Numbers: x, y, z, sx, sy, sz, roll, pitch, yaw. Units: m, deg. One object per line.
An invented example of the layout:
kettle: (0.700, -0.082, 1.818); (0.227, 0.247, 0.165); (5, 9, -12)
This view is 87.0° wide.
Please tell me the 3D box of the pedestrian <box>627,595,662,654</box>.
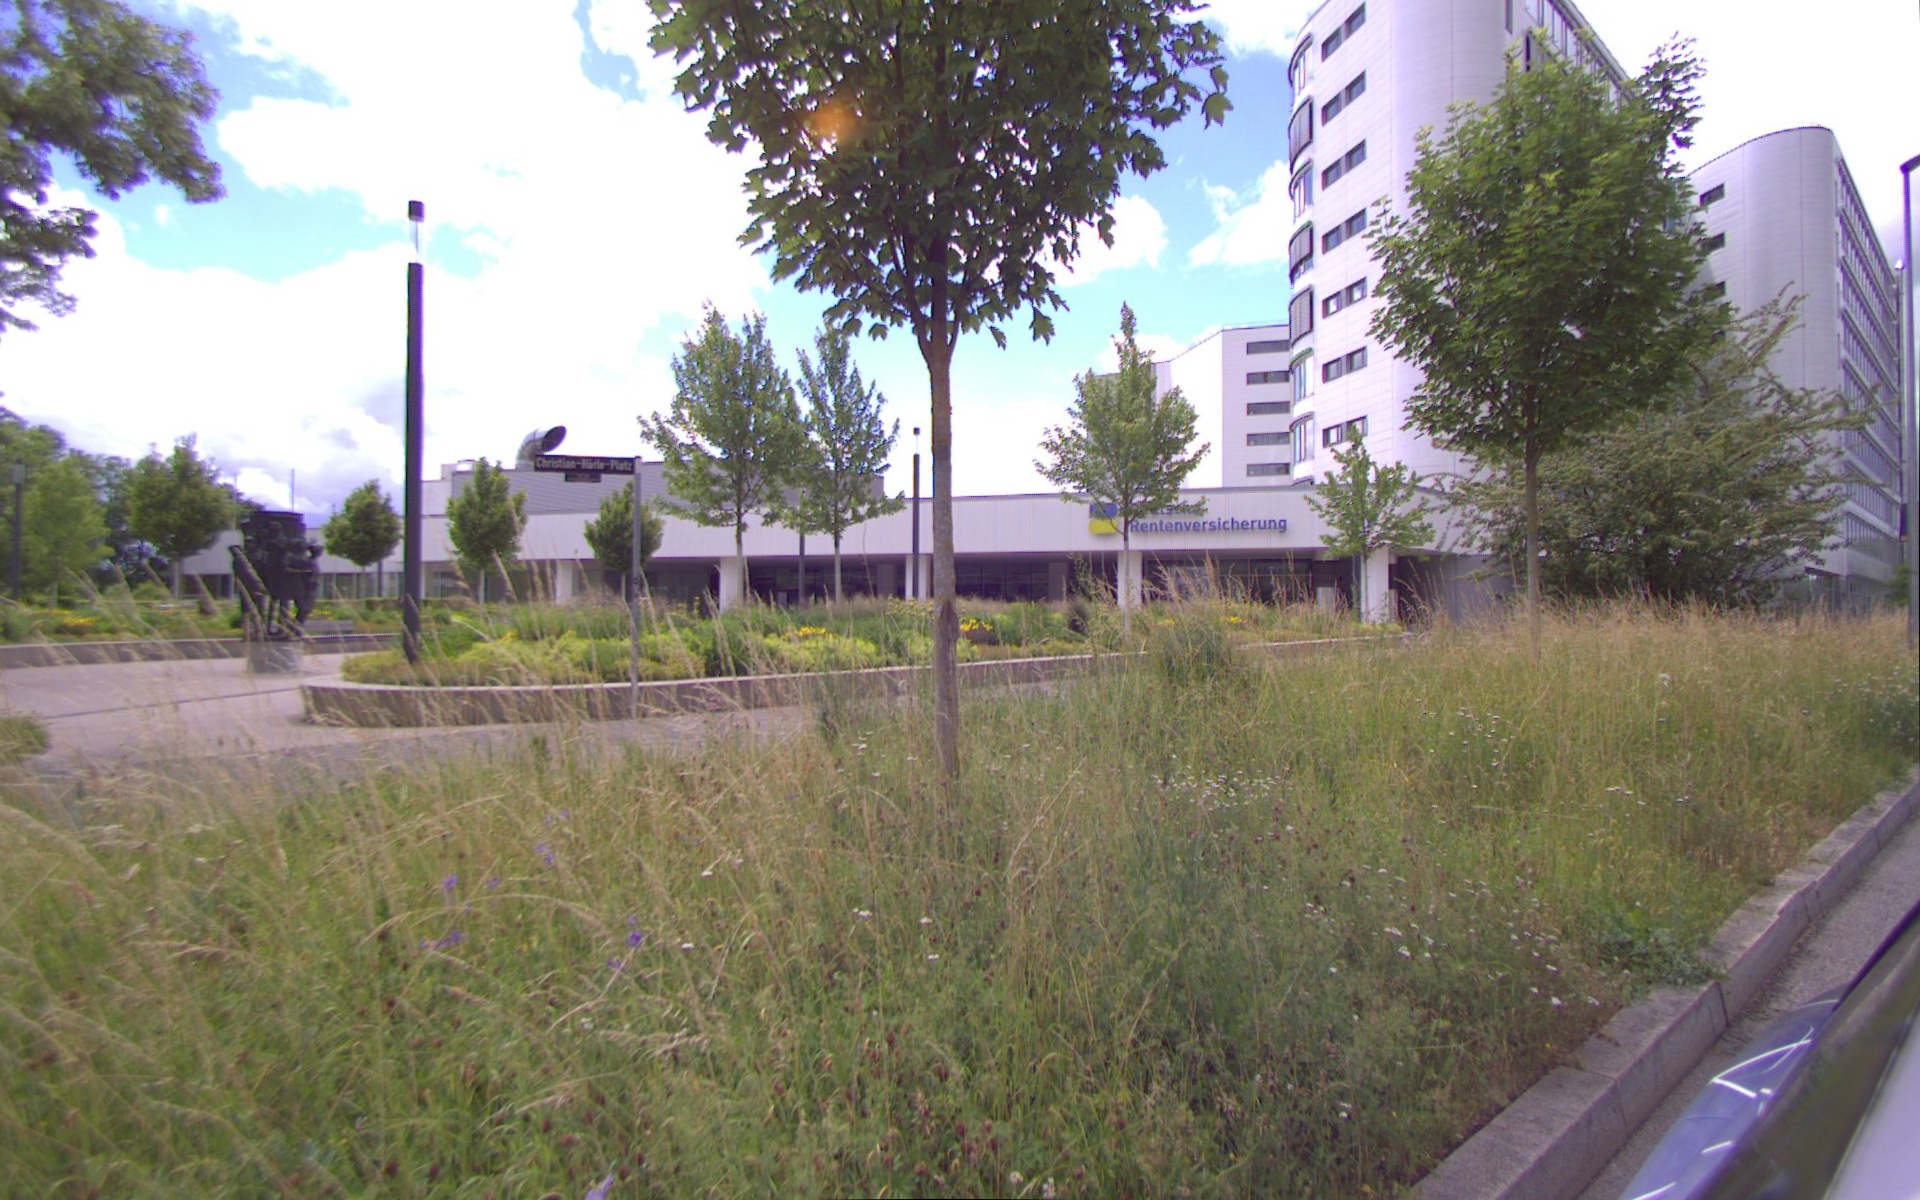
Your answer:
pedestrian: (-8.974, 0.688, 28.795); (0.758, 1.646, 0.764); (0, 0, 1)
